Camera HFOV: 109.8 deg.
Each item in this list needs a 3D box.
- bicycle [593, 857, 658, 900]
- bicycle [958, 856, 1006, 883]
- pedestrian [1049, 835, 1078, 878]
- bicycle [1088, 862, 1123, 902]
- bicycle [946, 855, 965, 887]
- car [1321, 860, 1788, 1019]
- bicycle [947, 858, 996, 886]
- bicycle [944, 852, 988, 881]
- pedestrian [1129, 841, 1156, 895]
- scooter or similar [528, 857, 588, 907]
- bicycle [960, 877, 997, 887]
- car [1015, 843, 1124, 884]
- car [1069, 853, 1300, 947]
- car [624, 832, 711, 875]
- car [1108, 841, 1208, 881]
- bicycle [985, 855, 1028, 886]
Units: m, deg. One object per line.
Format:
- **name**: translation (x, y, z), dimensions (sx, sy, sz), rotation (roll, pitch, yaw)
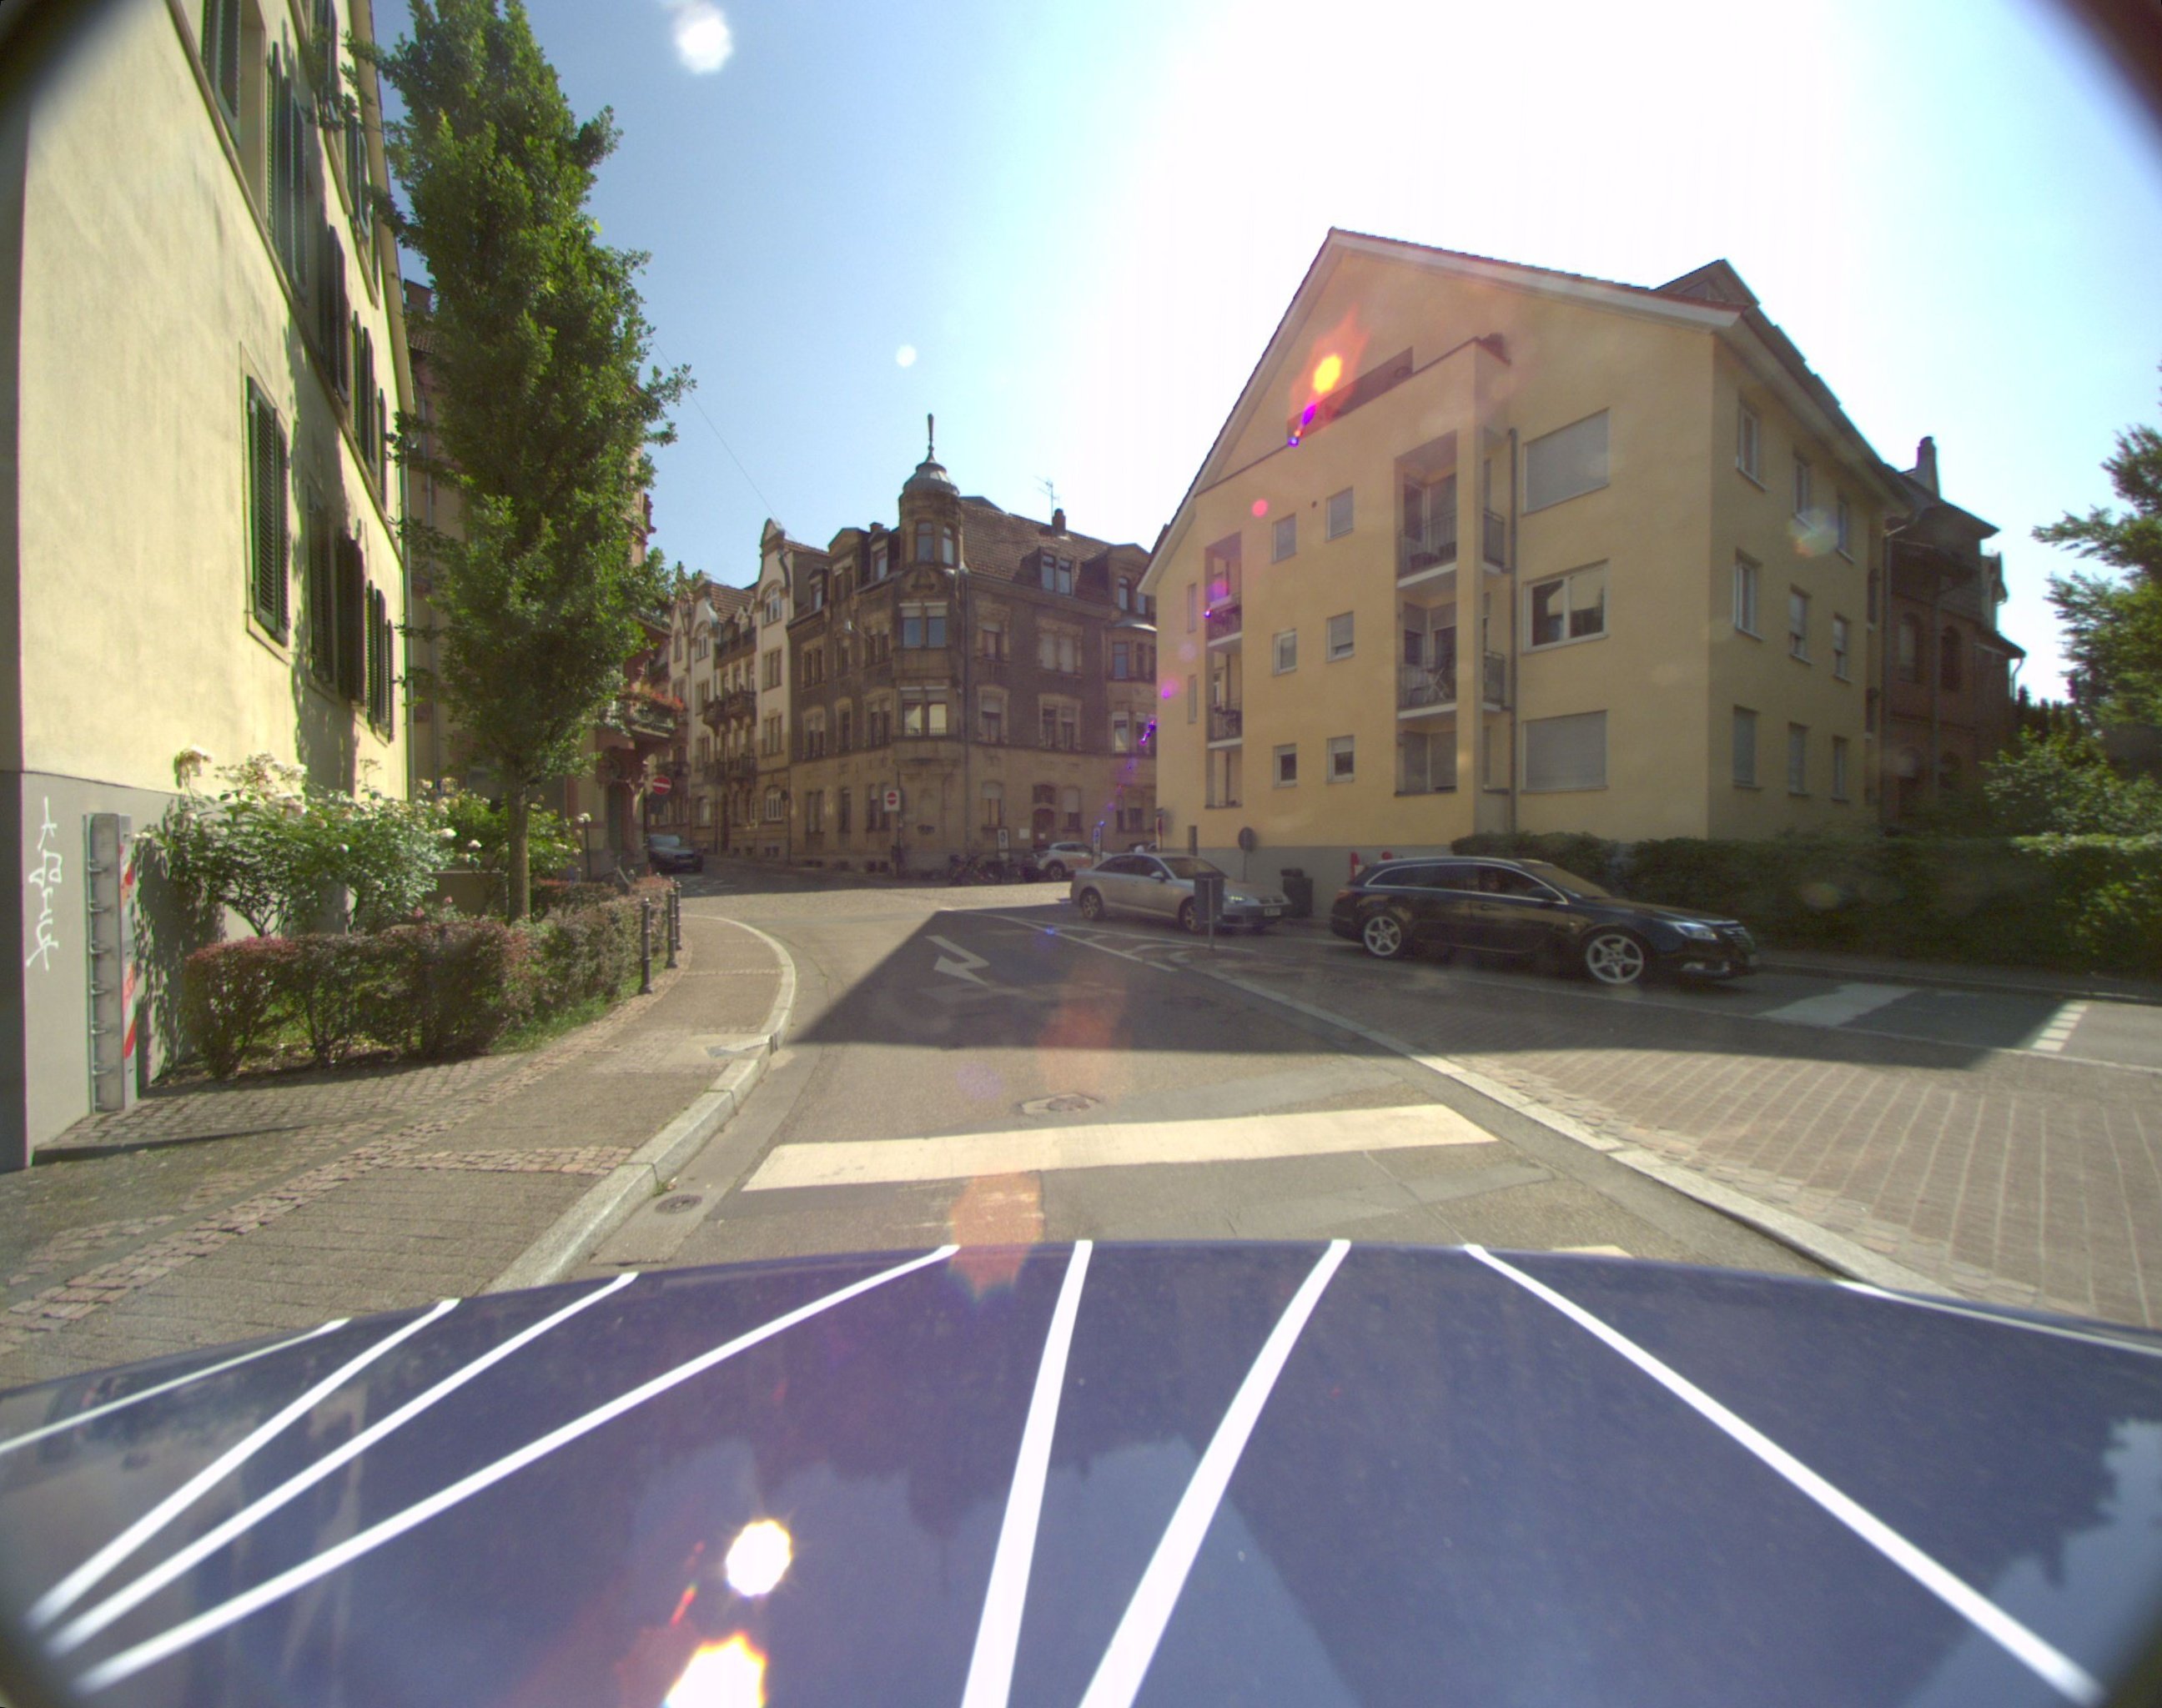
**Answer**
- **bicycle**: translation (-12.756, 0.681, 21.279), dimensions (1.789, 1.140, 0.506), rotation (1, 1, 18)
- **bicycle**: translation (-3.672, 0.576, 28.208), dimensions (1.637, 1.084, 0.285), rotation (2, 46, 43)
- **pedestrian**: translation (-0.743, 0.074, 31.892), dimensions (0.982, 1.749, 0.621), rotation (-2, 6, -37)
- **bicycle**: translation (0.700, 0.797, 22.463), dimensions (0.392, 1.073, 1.906), rotation (0, 1, -19)
- **bicycle**: translation (-4.555, 0.604, 27.487), dimensions (0.286, 1.080, 1.639), rotation (-4, 2, -22)
- **car**: translation (5.621, 0.856, 9.669), dimensions (1.723, 1.453, 4.711), rotation (2, 0, -38)
- **bicycle**: translation (-4.023, 0.650, 27.857), dimensions (1.637, 1.084, 0.285), rotation (2, 46, 43)
- **bicycle**: translation (-4.505, 0.488, 29.876), dimensions (1.645, 1.080, 0.494), rotation (0, 5, -36)
- **pedestrian**: translation (1.890, 0.415, 23.343), dimensions (0.658, 1.609, 0.492), rotation (-1, 2, -23)
- **scooter or similar**: translation (-13.545, 0.702, 19.692), dimensions (0.441, 1.228, 1.193), rotation (1, 2, 40)
- **bicycle**: translation (-3.741, 1.022, 27.587), dimensions (1.080, 0.286, 1.121), rotation (0, 1, -22)
- **car**: translation (-0.431, 0.322, 29.908), dimensions (3.936, 1.535, 1.847), rotation (-1, 1, -37)
- **car**: translation (1.836, 0.756, 14.753), dimensions (1.881, 1.484, 4.370), rotation (-1, 1, -38)
- **car**: translation (-17.150, -0.081, 31.442), dimensions (4.246, 1.574, 1.866), rotation (3, 5, 43)
- **car**: translation (3.309, 0.274, 32.494), dimensions (4.007, 1.535, 1.848), rotation (-2, 1, -35)
- **bicycle**: translation (-2.763, 0.612, 28.014), dimensions (1.638, 1.079, 0.286), rotation (-2, -2, 26)
